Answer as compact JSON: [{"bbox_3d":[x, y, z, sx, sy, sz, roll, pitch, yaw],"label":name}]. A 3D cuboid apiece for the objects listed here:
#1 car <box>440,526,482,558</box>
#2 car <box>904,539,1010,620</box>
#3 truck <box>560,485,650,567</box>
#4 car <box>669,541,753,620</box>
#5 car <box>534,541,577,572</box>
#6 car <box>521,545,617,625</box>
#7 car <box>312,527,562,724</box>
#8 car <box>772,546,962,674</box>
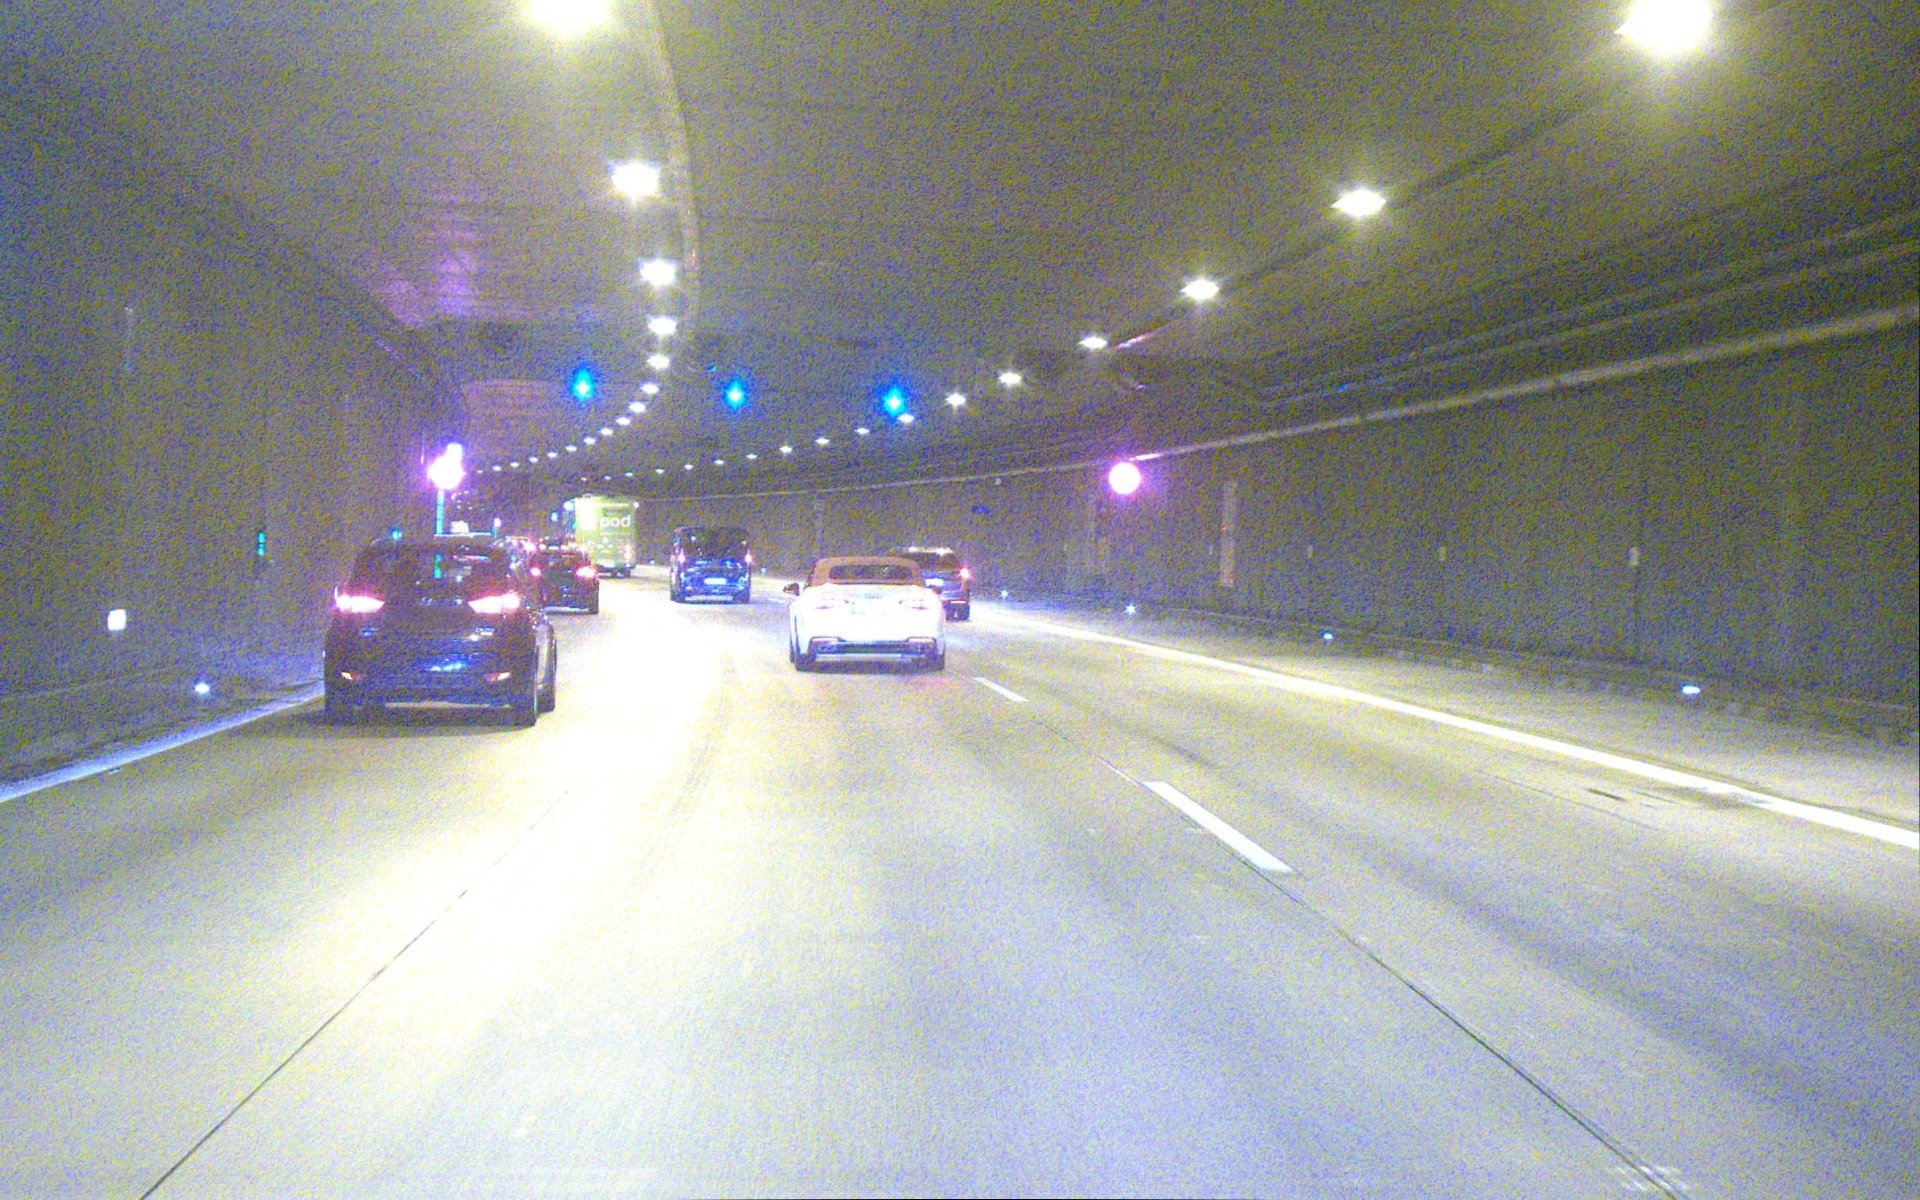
[{"bbox_3d":[-25.267,-2.948,174.011,1.993,1.525,4.001,2,0,-9],"label":"car"},{"bbox_3d":[-0.092,-0.438,70.656,1.839,1.597,4.001,1,1,-5],"label":"car"},{"bbox_3d":[-14.334,-3.024,138.266,3.082,3.102,10.032,2,1,-8],"label":"truck"},{"bbox_3d":[-6.355,-0.506,87.366,1.993,1.965,4.001,0,1,-6],"label":"car"},{"bbox_3d":[-23.731,-2.578,201.755,1.993,1.748,4.001,2,0,-13],"label":"car"},{"bbox_3d":[-8.503,-0.339,74.548,1.800,1.678,4.001,1,1,-10],"label":"car"},{"bbox_3d":[-4.497,0.179,30.009,1.785,1.593,3.802,1,1,-3],"label":"car"},{"bbox_3d":[-1.208,0.090,42.637,1.993,1.478,4.001,1,1,-6],"label":"car"}]
